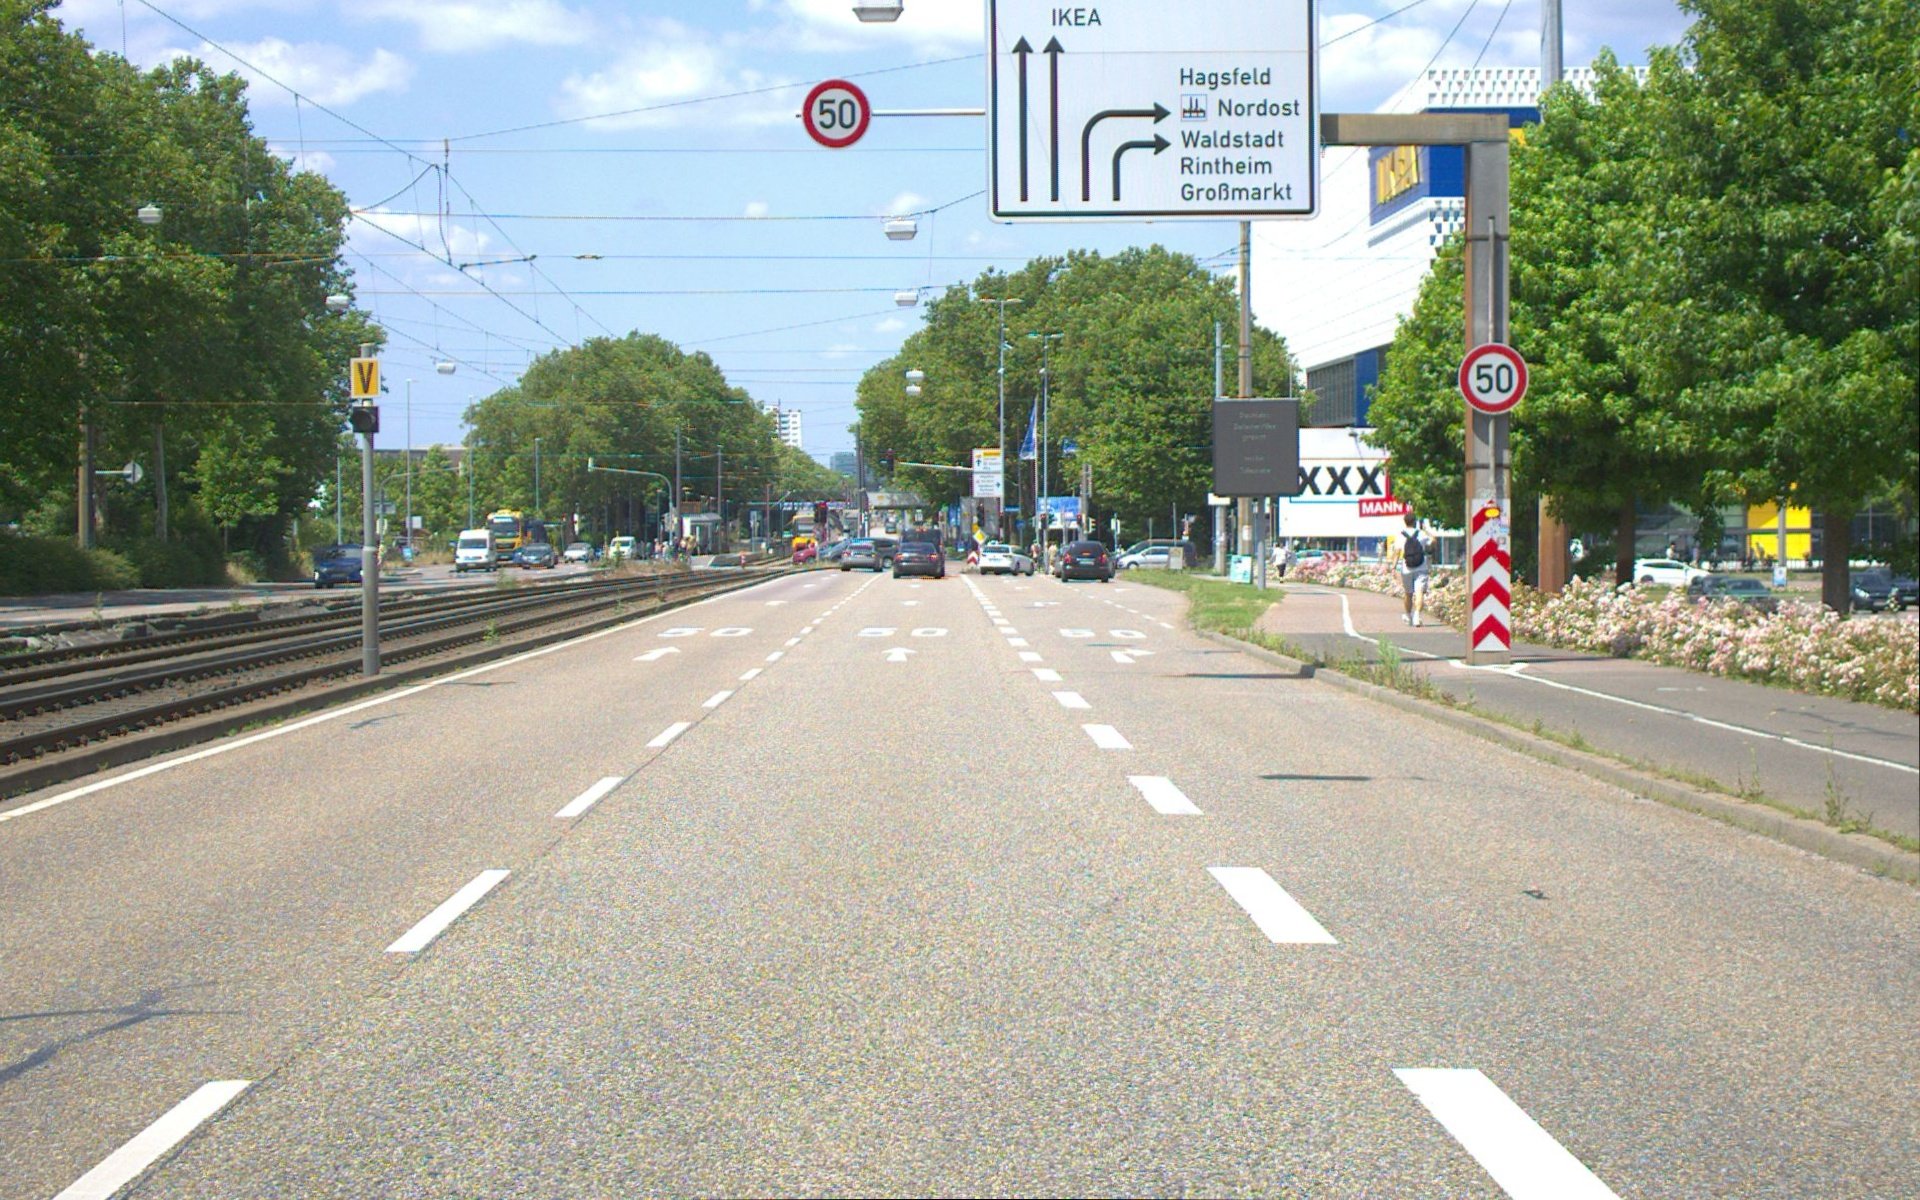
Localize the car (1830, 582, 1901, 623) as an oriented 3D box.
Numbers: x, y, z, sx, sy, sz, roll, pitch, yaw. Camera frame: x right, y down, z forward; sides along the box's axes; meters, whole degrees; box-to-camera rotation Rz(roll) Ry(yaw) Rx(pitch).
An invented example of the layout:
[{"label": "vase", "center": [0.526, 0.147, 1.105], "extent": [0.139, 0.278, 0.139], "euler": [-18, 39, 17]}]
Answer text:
[{"label": "car", "center": [35.172, 0.087, 133.593], "extent": [1.571, 1.477, 3.889], "euler": [1, 1, -2]}]

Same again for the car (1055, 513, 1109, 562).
[{"label": "car", "center": [4.636, -2.380, 131.251], "extent": [1.899, 1.799, 3.977], "euler": [1, 1, 0]}]

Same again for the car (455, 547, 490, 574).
[{"label": "car", "center": [-29.829, -2.412, 210.411], "extent": [1.623, 1.544, 3.704], "euler": [1, 1, -1]}]

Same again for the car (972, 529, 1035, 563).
[{"label": "car", "center": [2.118, -2.593, 165.177], "extent": [1.687, 1.544, 3.979], "euler": [2, 1, 22]}]

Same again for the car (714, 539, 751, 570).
[{"label": "car", "center": [-12.154, -2.447, 183.672], "extent": [1.842, 1.544, 3.777], "euler": [1, 1, -2]}]

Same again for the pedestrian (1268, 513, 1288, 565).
[{"label": "pedestrian", "center": [11.153, -2.143, 120.473], "extent": [0.580, 1.786, 0.590], "euler": [1, 1, -3]}]

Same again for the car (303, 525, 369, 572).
[{"label": "car", "center": [-21.435, -1.795, 118.233], "extent": [1.644, 1.545, 4.217], "euler": [1, 1, -3]}]

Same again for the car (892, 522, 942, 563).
[{"label": "car", "center": [-1.680, -2.244, 133.912], "extent": [1.876, 1.534, 3.777], "euler": [1, 1, -1]}]

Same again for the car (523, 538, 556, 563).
[{"label": "car", "center": [-26.287, -3.104, 214.807], "extent": [1.623, 1.544, 3.704], "euler": [1, 1, -1]}]

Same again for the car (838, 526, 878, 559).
[{"label": "car", "center": [-4.961, -2.814, 166.990], "extent": [1.842, 1.544, 3.777], "euler": [1, 1, -2]}]

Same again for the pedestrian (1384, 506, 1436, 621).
[{"label": "pedestrian", "center": [7.063, -0.582, 53.981], "extent": [0.669, 1.786, 0.924], "euler": [1, 1, 1]}]

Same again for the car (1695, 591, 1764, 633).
[{"label": "car", "center": [29.441, 0.431, 131.629], "extent": [1.571, 1.477, 3.889], "euler": [1, 1, -2]}]
